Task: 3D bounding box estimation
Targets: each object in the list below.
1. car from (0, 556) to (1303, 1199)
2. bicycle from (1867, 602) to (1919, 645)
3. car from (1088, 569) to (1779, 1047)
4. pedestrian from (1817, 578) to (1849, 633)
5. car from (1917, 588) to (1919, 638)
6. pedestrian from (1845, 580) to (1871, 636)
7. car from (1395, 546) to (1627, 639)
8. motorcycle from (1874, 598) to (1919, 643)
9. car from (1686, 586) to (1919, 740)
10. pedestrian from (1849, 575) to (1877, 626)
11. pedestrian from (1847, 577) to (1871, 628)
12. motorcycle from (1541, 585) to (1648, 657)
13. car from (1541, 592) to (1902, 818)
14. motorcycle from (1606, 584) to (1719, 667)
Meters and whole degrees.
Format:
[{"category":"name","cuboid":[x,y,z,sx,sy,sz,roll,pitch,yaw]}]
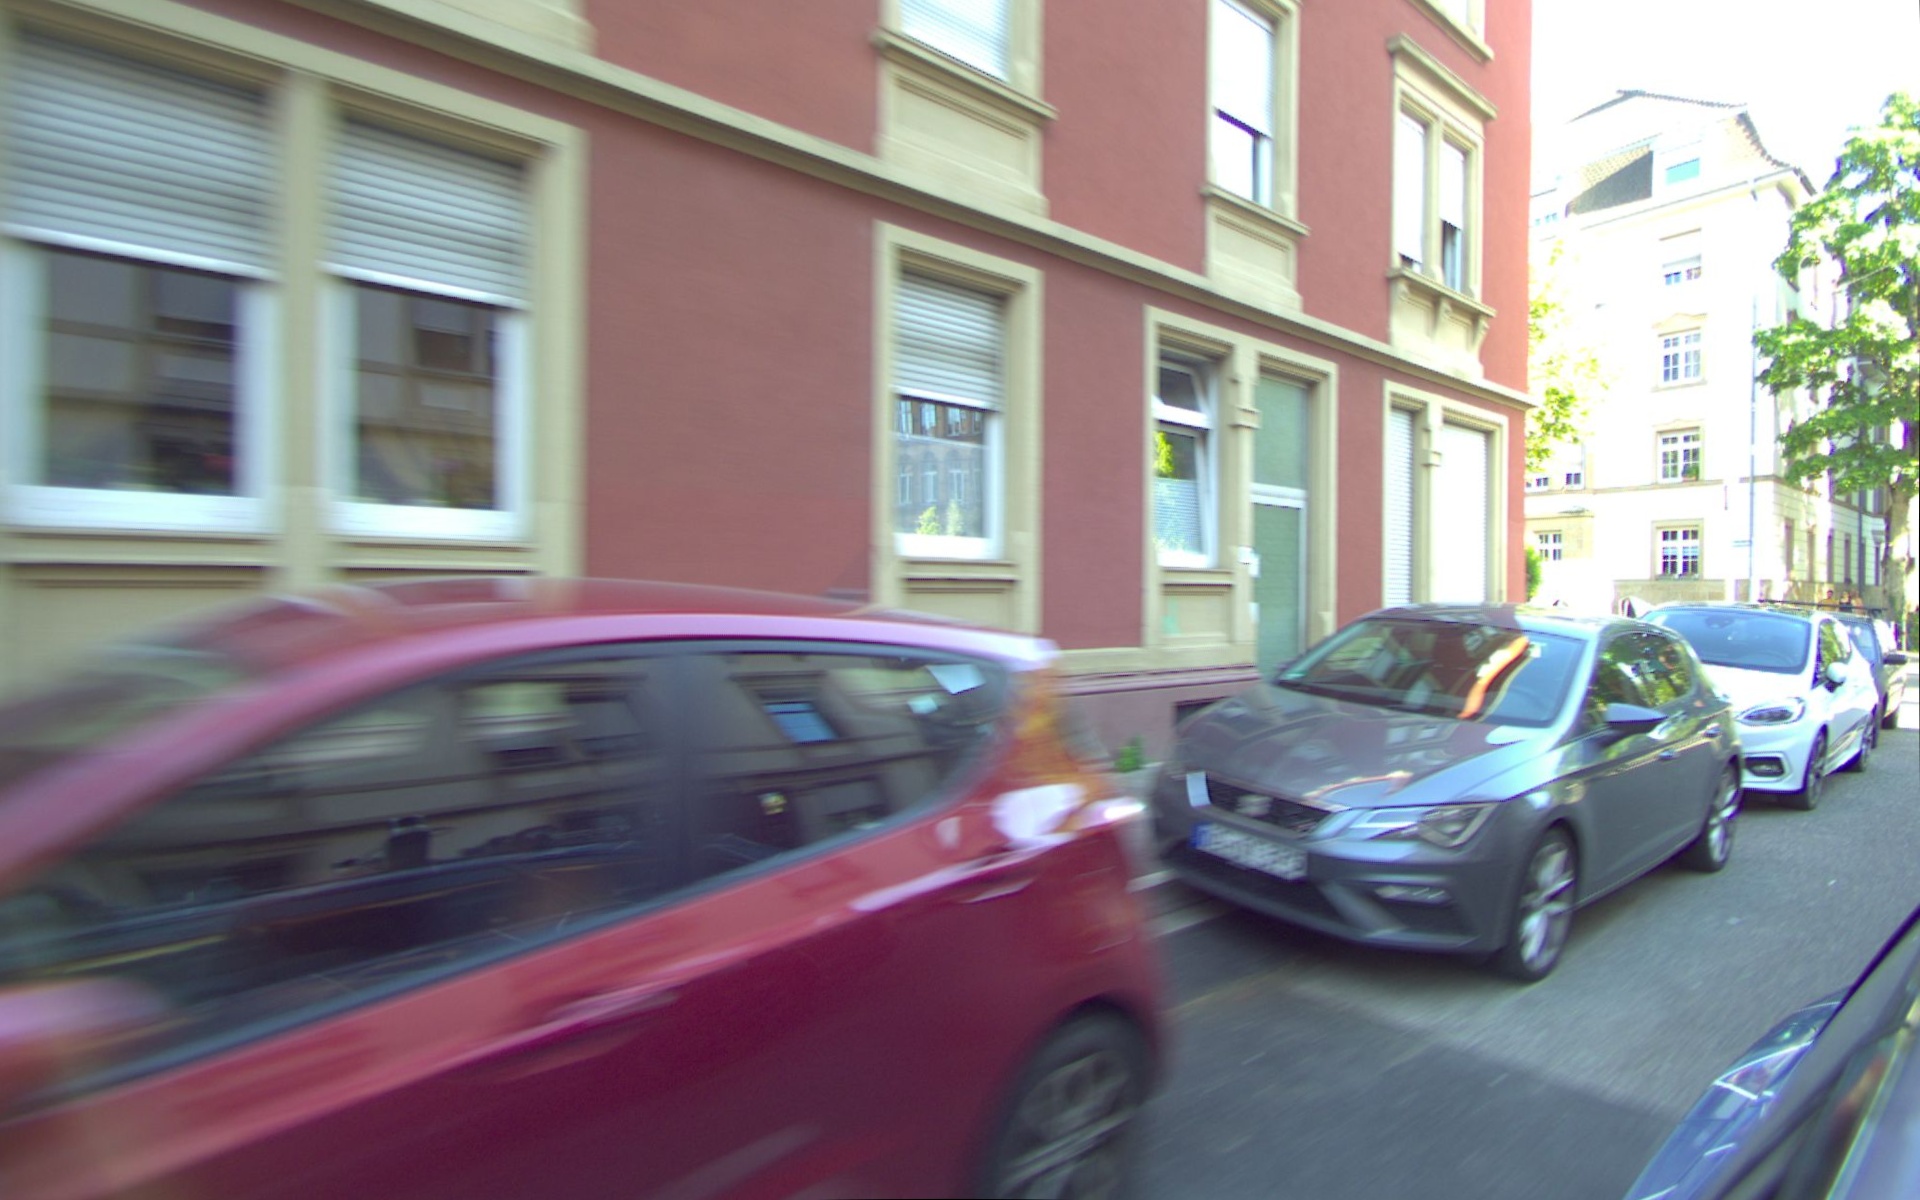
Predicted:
[{"category":"car","cuboid":[-1.116,0.686,1.930,3.956,1.498,1.661,0,2,-43]},{"category":"bicycle","cuboid":[27.708,0.699,29.523,0.424,1.176,1.803,1,3,-24]},{"category":"car","cuboid":[2.649,0.658,5.194,3.997,1.522,1.680,0,1,-40]},{"category":"pedestrian","cuboid":[27.605,0.161,32.008,0.804,1.705,0.624,0,1,-41]},{"category":"car","cuboid":[31.984,0.456,32.341,4.063,1.559,1.683,0,3,-42]},{"category":"pedestrian","cuboid":[28.006,0.240,31.557,0.508,1.740,0.519,0,1,-42]},{"category":"car","cuboid":[16.262,-0.304,30.238,2.260,2.498,5.671,0,2,-31]},{"category":"motorcycle","cuboid":[28.418,0.645,30.006,0.667,1.227,1.853,2,3,-43]},{"category":"car","cuboid":[10.041,0.614,11.909,3.642,1.501,1.671,0,2,-42]},{"category":"pedestrian","cuboid":[33.962,0.000,38.066,0.704,1.868,0.827,2,1,44]},{"category":"pedestrian","cuboid":[33.264,0.095,37.451,0.694,1.868,0.529,0,1,-40]},{"category":"motorcycle","cuboid":[13.356,0.416,21.277,2.493,1.422,0.872,0,2,-32]},{"category":"car","cuboid":[6.715,0.702,8.775,3.901,1.480,1.708,0,2,-41]},{"category":"motorcycle","cuboid":[14.045,0.497,20.220,2.571,1.544,0.875,1,1,-32]}]
